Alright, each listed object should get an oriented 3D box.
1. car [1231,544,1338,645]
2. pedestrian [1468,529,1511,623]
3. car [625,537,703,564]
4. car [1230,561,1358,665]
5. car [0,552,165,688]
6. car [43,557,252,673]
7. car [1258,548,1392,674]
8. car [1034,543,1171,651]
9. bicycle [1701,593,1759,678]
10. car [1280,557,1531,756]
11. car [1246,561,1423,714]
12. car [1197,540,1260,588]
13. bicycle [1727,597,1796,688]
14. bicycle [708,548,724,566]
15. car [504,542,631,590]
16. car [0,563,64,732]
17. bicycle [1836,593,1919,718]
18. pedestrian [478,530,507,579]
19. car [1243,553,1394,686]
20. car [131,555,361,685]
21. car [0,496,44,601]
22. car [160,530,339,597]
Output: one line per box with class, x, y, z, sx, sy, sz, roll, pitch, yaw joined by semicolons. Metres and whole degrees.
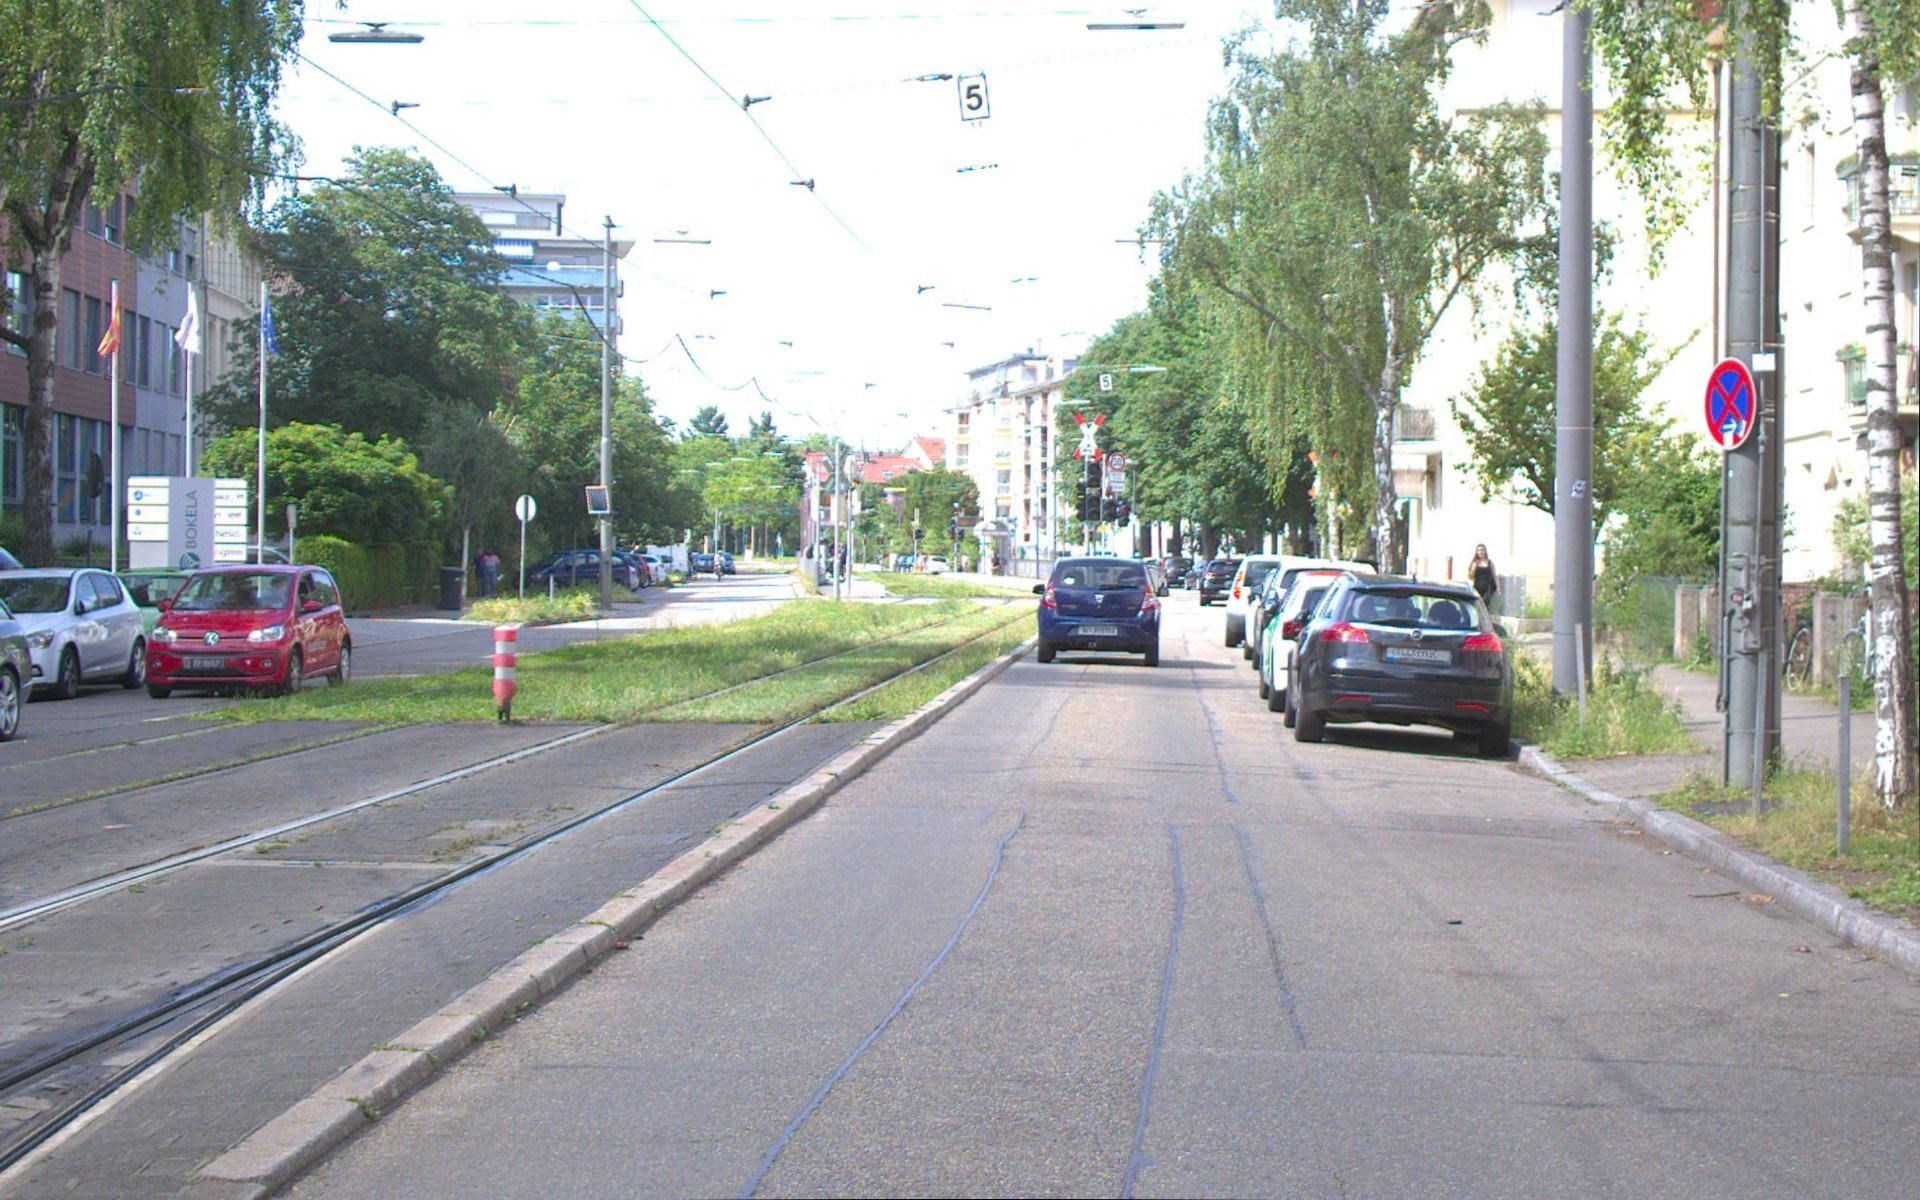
car;5.715;-0.122;60.249;1.721;1.624;3.999;3;1;6
pedestrian;9.562;-0.438;62.085;0.730;1.677;0.690;-1;1;8
car;-16.311;-2.735;189.538;3.988;1.442;1.728;0;1;-36
car;5.048;0.170;52.319;1.673;1.412;3.795;4;1;3
car;-10.558;0.188;39.373;1.645;1.472;4.225;0;1;4
car;-10.454;0.163;44.441;1.594;1.427;3.614;0;1;5
car;4.944;0.115;46.943;1.493;1.574;3.759;3;1;2
car;2.059;-0.067;48.818;1.768;1.457;3.775;0;1;5
bicycle;8.911;0.397;39.799;0.387;0.935;1.585;1;1;3
car;3.890;0.437;30.673;1.792;1.515;4.526;3;1;3
car;4.005;0.359;37.229;1.620;1.447;3.918;4;1;3
car;8.189;-1.119;105.173;1.700;1.363;3.514;3;1;2
bicycle;8.810;0.453;37.848;0.377;0.940;2.009;1;1;3
bicycle;-13.339;-2.365;188.024;0.680;0.967;2.178;0;1;2
car;-13.627;-1.169;119.499;4.121;1.635;1.725;0;1;-41
car;-8.616;0.403;26.686;1.755;1.351;4.511;-1;0;5
bicycle;8.459;0.493;31.525;0.471;1.073;2.182;0;1;5
pedestrian;-15.199;-1.488;111.816;0.745;1.568;0.889;1;-1;6
car;4.375;0.205;42.422;1.589;1.447;3.844;4;1;3
car;-7.966;0.190;38.637;1.579;1.382;3.692;0;1;4
car;-16.533;-0.882;53.386;3.987;1.596;1.973;2;1;4
car;-17.546;-0.916;85.024;3.987;1.590;2.000;1;1;1
